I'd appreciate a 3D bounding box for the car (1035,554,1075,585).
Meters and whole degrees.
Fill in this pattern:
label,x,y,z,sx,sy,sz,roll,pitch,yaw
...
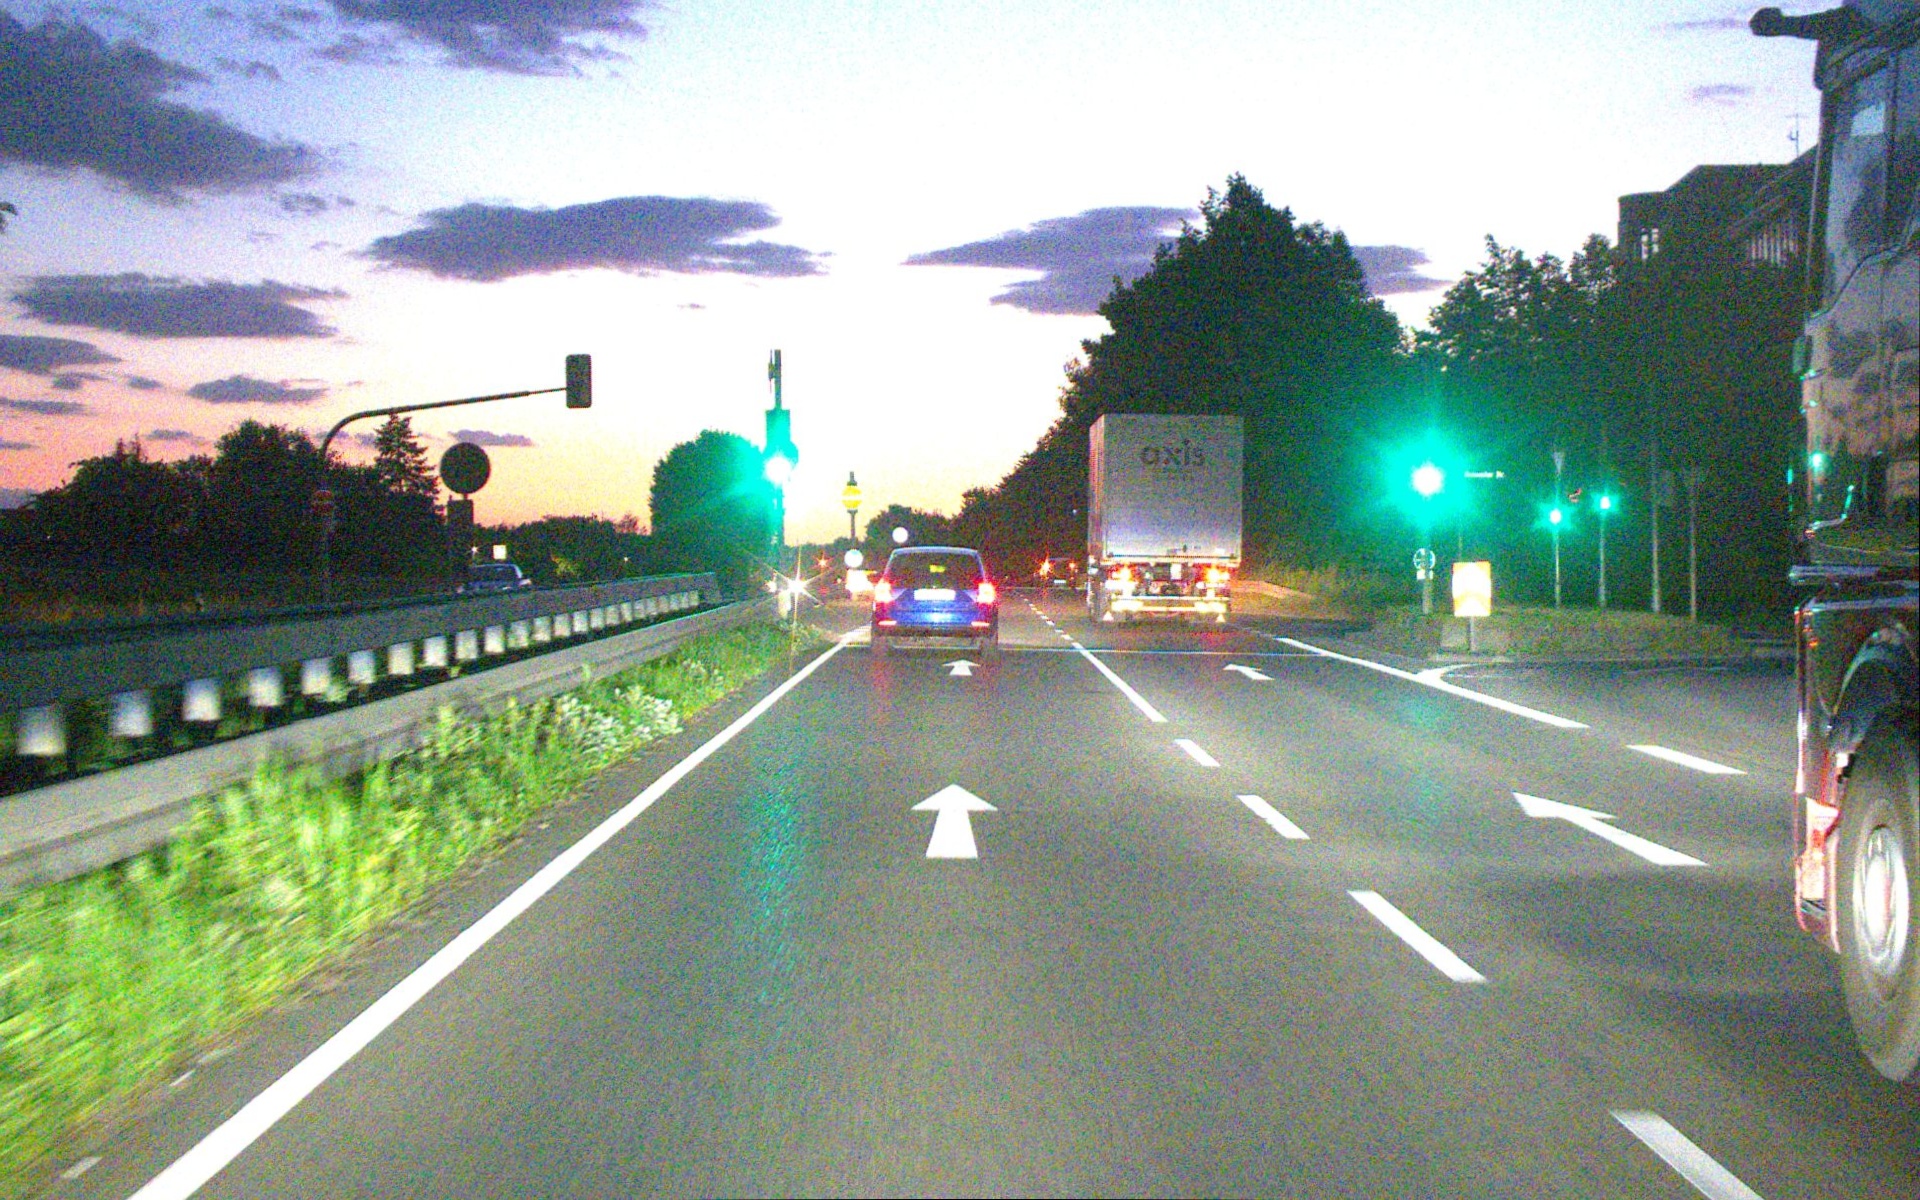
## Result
label,x,y,z,sx,sy,sz,roll,pitch,yaw
car,4.477,-1.460,163.010,1.695,1.447,3.914,1,1,-1

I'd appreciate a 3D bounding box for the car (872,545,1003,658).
label,x,y,z,sx,sy,sz,roll,pitch,yaw
car,-0.330,-0.006,46.693,1.695,1.447,3.914,1,1,-1

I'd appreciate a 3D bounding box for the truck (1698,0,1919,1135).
label,x,y,z,sx,sy,sz,roll,pitch,yaw
truck,3.813,-0.584,5.172,2.687,4.092,13.141,1,1,1

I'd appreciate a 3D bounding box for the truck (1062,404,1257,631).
label,x,y,z,sx,sy,sz,roll,pitch,yaw
truck,3.803,-1.593,68.762,2.883,4.092,12.684,1,1,-1

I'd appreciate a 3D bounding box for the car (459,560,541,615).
label,x,y,z,sx,sy,sz,roll,pitch,yaw
car,-11.868,-0.329,88.889,1.605,1.325,3.940,-2,1,-1
